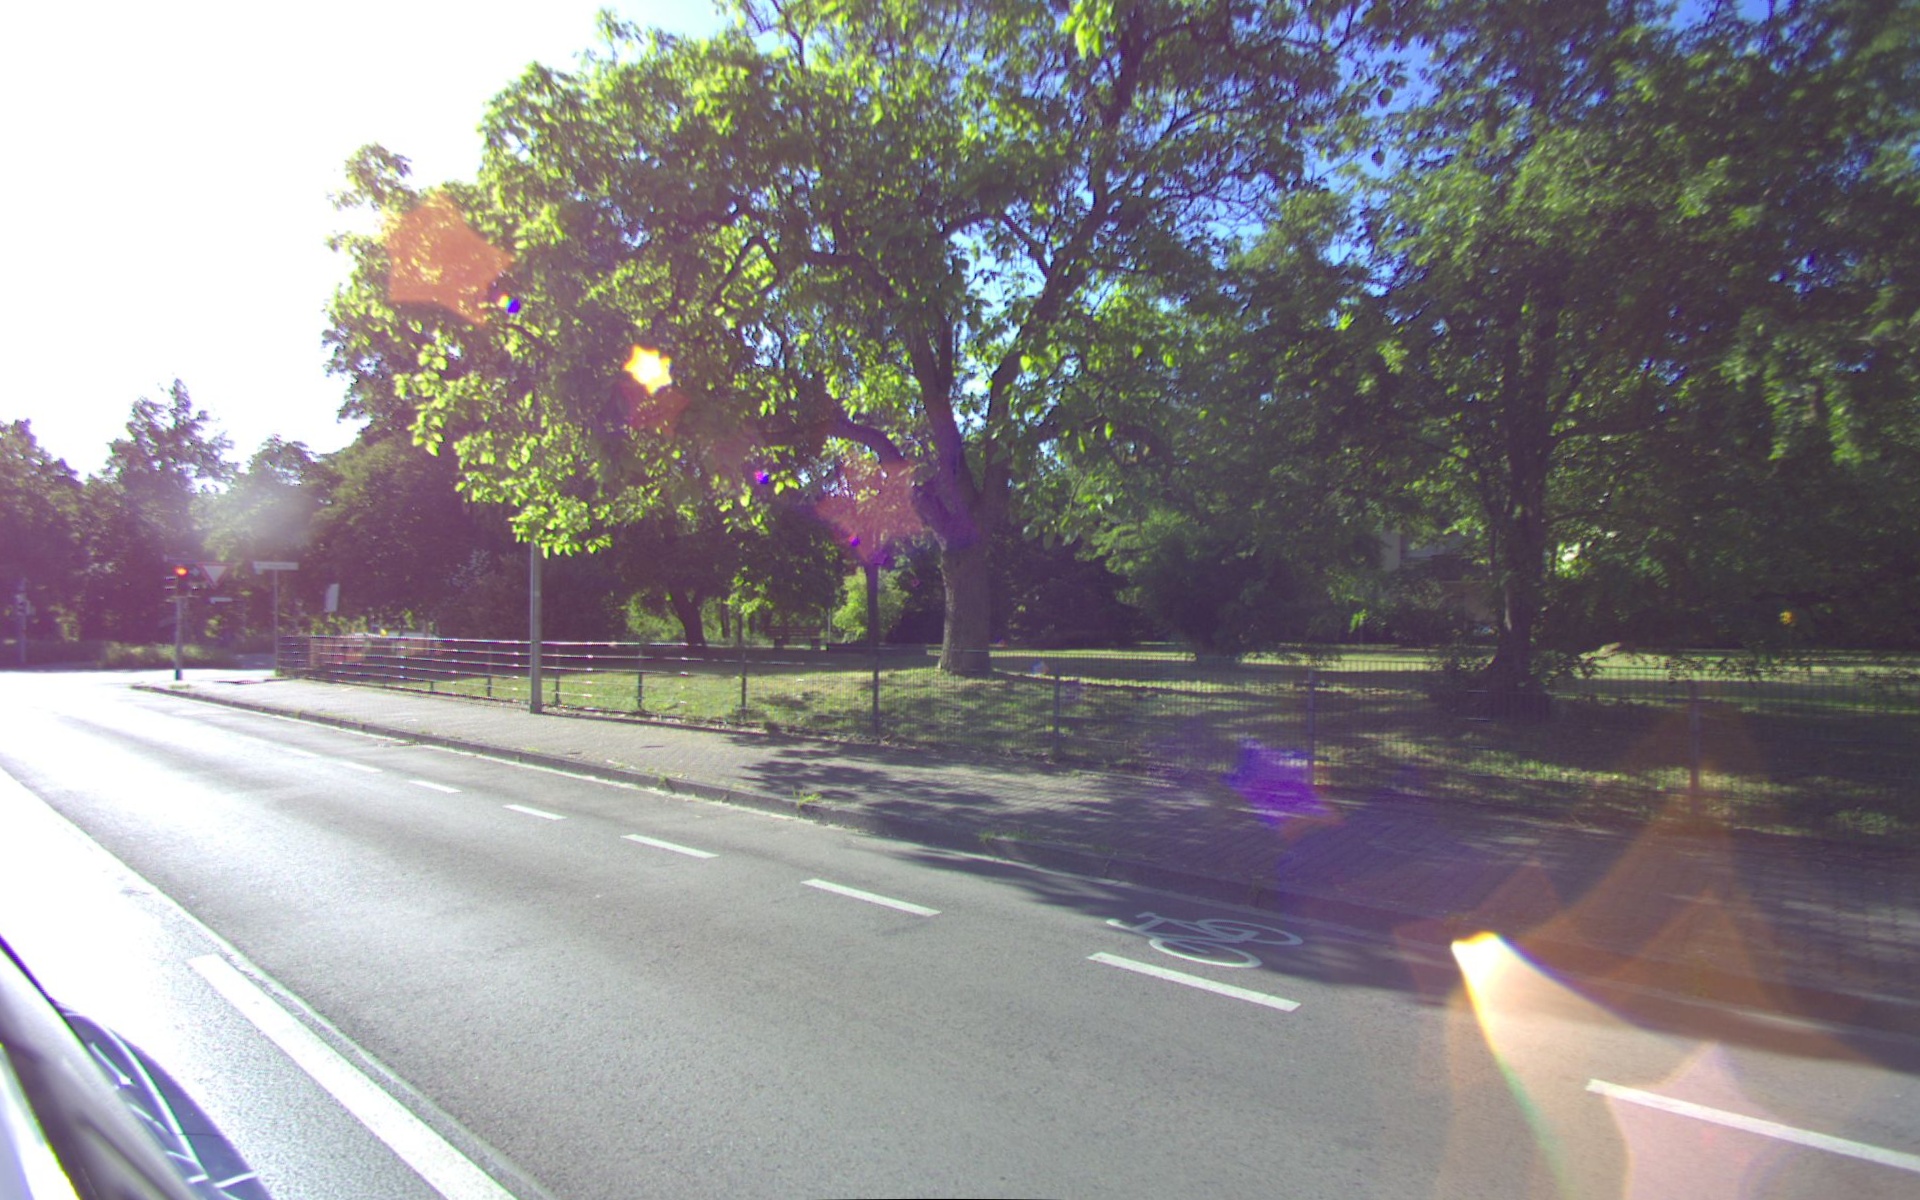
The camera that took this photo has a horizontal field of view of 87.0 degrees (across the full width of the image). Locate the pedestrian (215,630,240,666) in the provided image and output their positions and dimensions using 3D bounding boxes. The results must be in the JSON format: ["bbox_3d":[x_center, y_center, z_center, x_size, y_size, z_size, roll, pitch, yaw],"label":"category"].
[{"bbox_3d":[-33.994,2.210,46.953,0.647,1.646,0.790,-3,-2,41],"label":"pedestrian"}]
